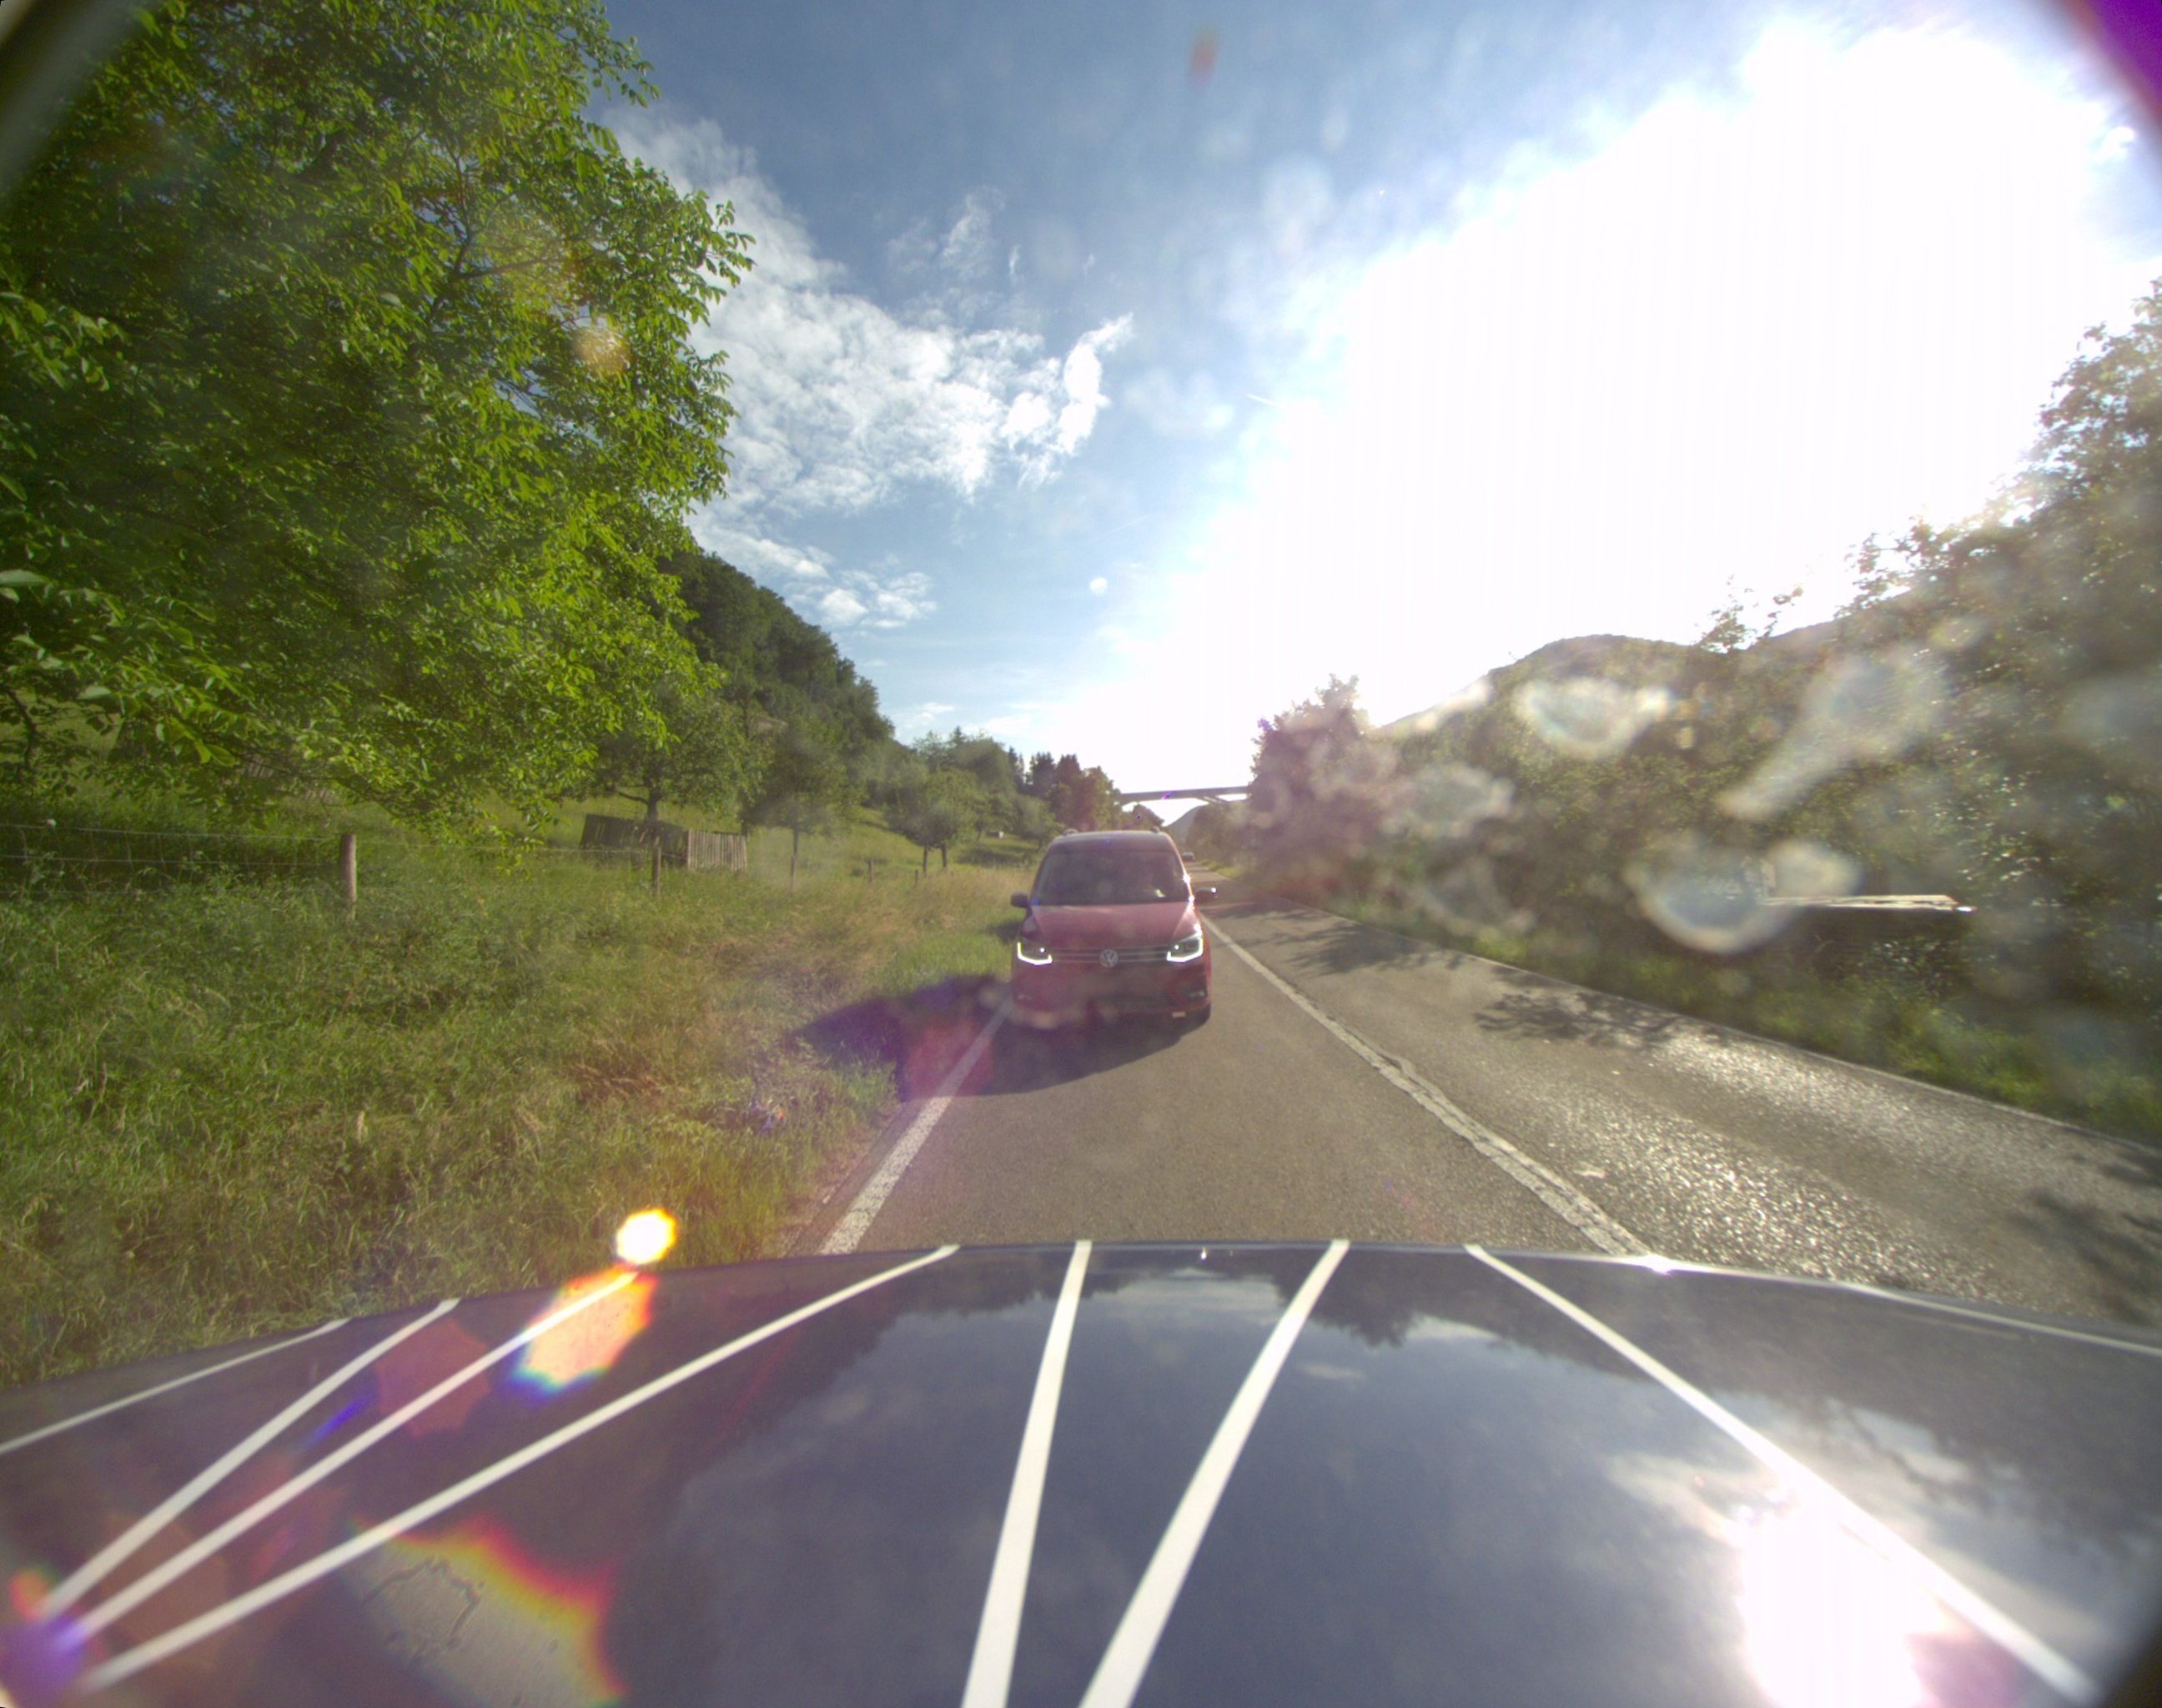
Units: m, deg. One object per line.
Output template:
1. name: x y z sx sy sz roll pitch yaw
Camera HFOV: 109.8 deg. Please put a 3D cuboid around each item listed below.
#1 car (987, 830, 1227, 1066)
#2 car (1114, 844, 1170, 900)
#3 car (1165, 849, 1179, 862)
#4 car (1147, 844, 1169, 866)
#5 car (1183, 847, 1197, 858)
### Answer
1. car: 0.273 0.693 7.990 1.759 1.745 4.429 -2 1 2
2. car: 2.138 0.568 26.749 1.758 1.745 4.001 -2 1 5
3. car: 14.437 0.203 120.644 1.998 2.002 4.001 -2 1 6
4. car: 7.635 0.063 75.904 1.998 2.002 4.000 -2 1 4
5. car: 14.369 -0.258 100.525 1.597 1.346 4.204 -2 1 6
